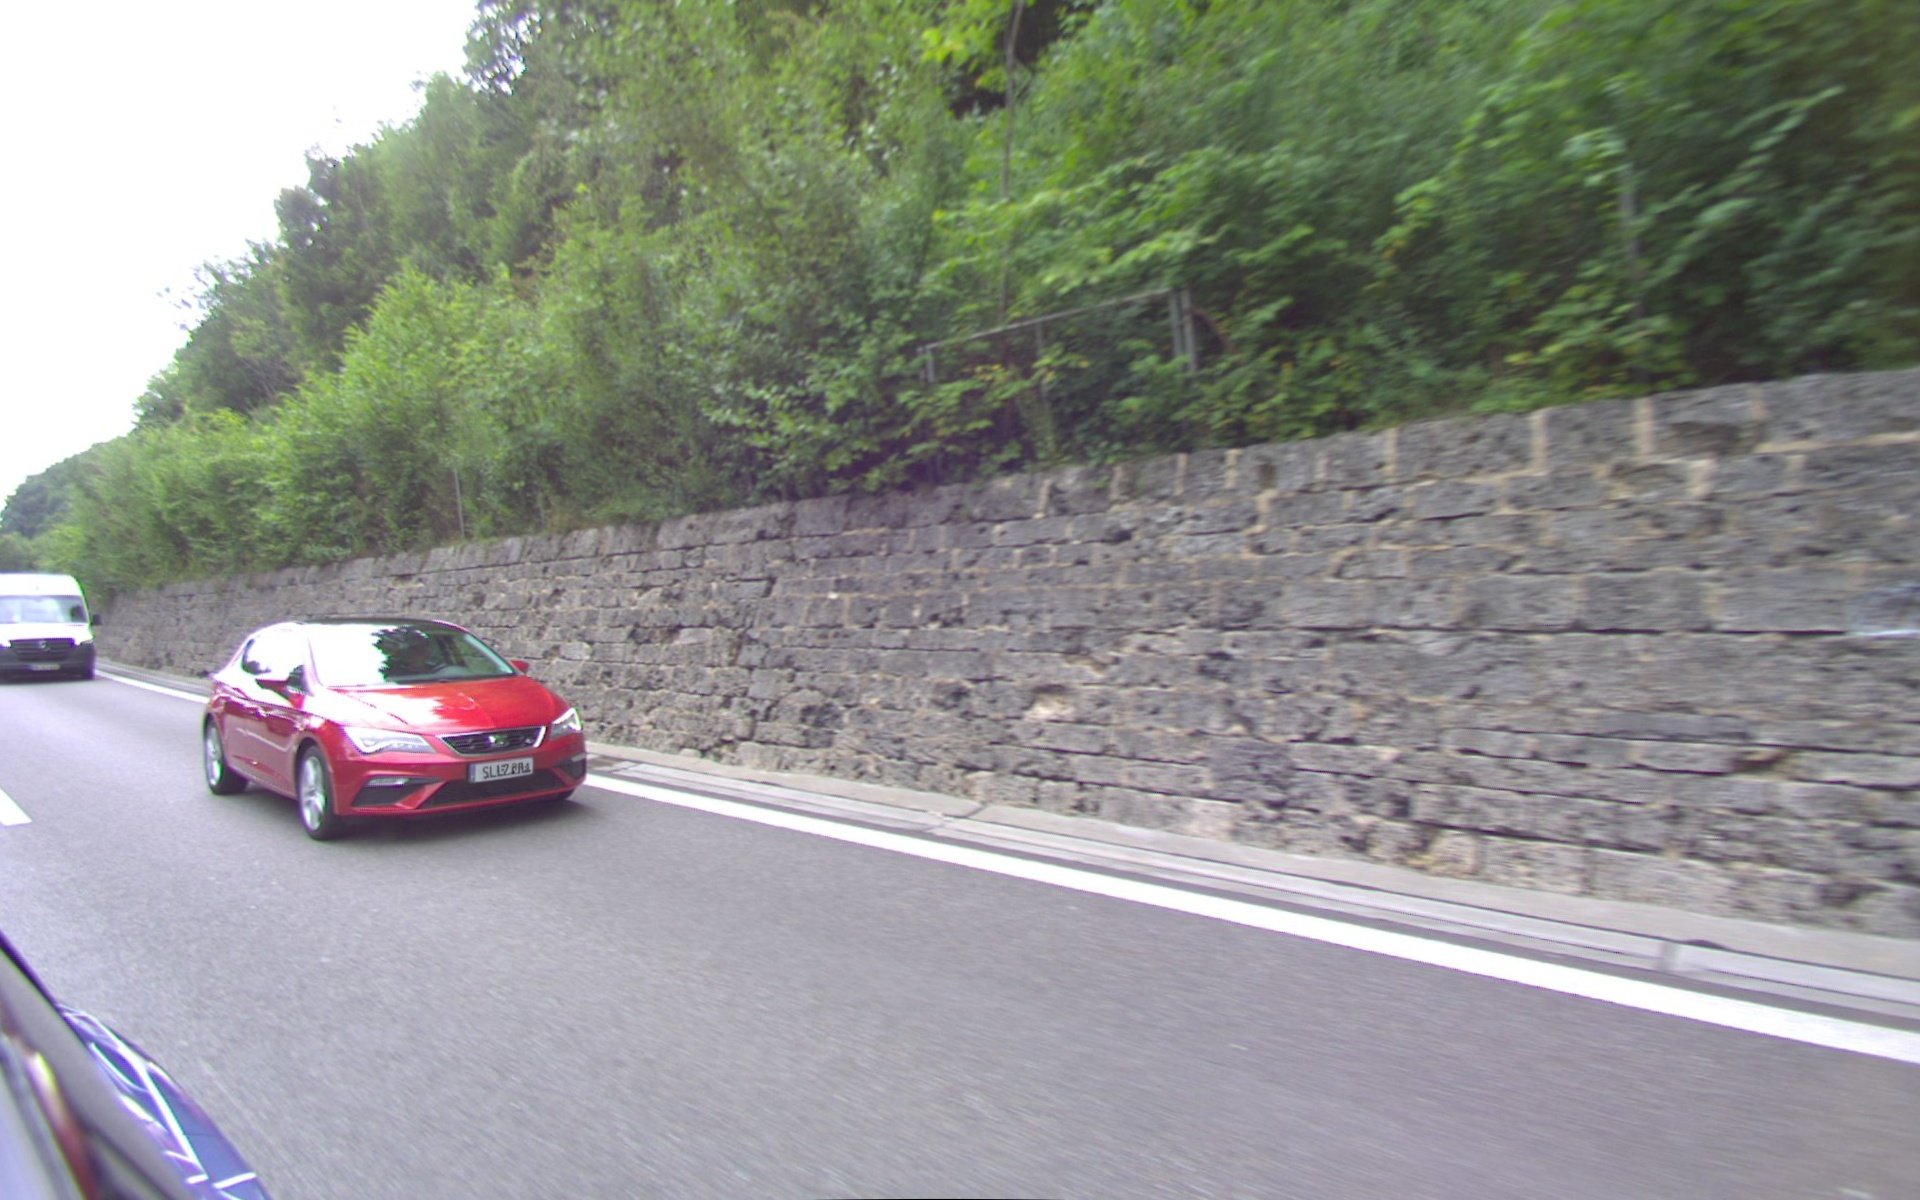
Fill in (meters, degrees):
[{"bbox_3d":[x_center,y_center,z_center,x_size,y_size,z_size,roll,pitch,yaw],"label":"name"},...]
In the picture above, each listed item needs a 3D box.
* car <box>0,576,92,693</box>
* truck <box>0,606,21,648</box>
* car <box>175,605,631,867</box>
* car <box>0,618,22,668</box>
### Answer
[{"bbox_3d":[-23.239,0.808,25.235,2.002,2.605,6.279,-1,0,-44],"label":"car"},{"bbox_3d":[-55.066,1.572,57.629,1.969,2.297,6.596,-3,1,-40],"label":"truck"},{"bbox_3d":[-4.528,0.806,7.894,4.410,1.471,1.748,-1,0,42],"label":"car"},{"bbox_3d":[-41.129,1.815,42.737,1.969,1.967,6.156,-3,1,-41],"label":"car"}]
